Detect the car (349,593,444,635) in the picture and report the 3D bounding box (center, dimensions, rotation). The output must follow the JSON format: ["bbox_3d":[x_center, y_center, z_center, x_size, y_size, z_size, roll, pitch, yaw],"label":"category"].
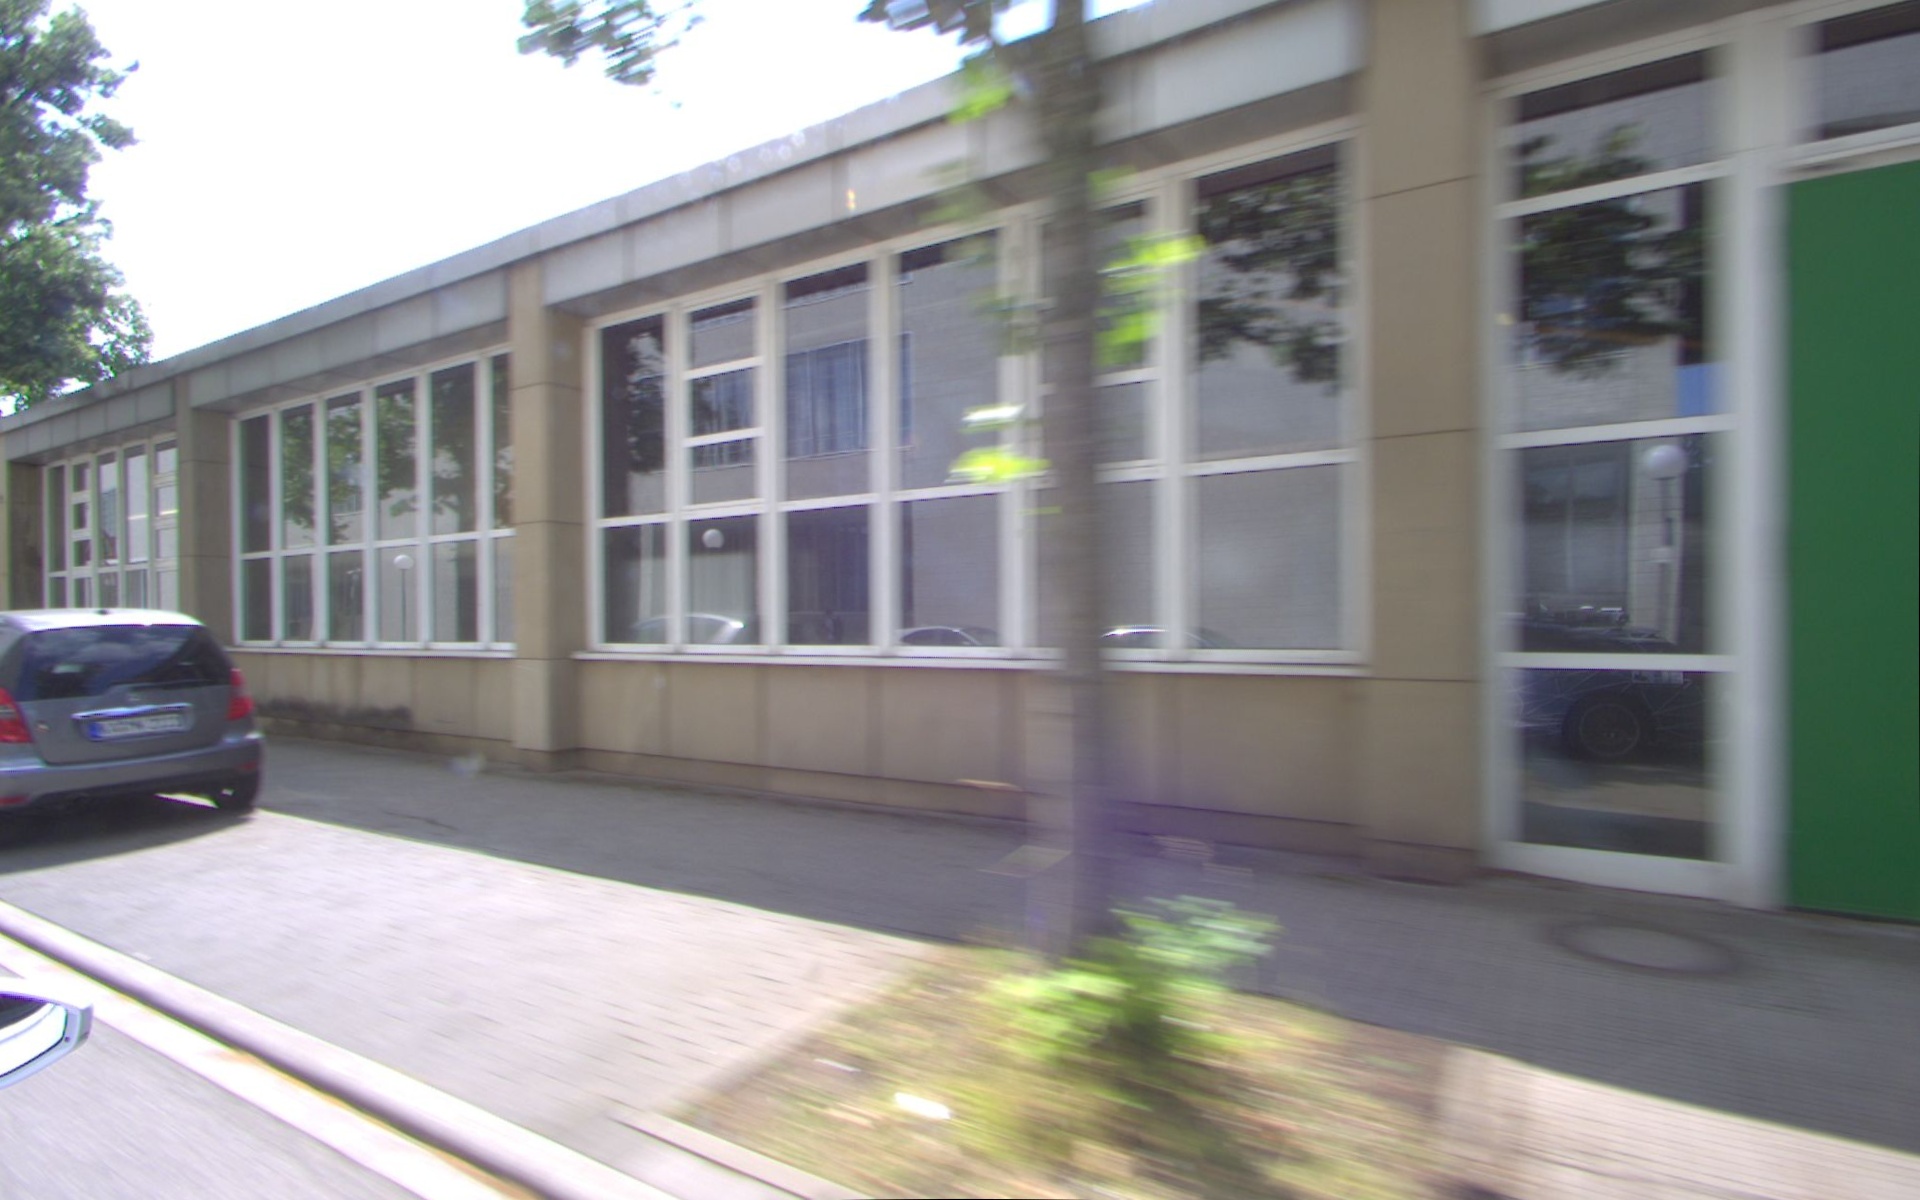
[{"bbox_3d":[-22.007,0.558,39.114,3.569,1.572,1.624,-1,-1,29],"label":"car"}]

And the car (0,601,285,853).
[{"bbox_3d":[-7.261,0.833,7.982,3.763,1.589,1.752,-1,0,32],"label":"car"}]
